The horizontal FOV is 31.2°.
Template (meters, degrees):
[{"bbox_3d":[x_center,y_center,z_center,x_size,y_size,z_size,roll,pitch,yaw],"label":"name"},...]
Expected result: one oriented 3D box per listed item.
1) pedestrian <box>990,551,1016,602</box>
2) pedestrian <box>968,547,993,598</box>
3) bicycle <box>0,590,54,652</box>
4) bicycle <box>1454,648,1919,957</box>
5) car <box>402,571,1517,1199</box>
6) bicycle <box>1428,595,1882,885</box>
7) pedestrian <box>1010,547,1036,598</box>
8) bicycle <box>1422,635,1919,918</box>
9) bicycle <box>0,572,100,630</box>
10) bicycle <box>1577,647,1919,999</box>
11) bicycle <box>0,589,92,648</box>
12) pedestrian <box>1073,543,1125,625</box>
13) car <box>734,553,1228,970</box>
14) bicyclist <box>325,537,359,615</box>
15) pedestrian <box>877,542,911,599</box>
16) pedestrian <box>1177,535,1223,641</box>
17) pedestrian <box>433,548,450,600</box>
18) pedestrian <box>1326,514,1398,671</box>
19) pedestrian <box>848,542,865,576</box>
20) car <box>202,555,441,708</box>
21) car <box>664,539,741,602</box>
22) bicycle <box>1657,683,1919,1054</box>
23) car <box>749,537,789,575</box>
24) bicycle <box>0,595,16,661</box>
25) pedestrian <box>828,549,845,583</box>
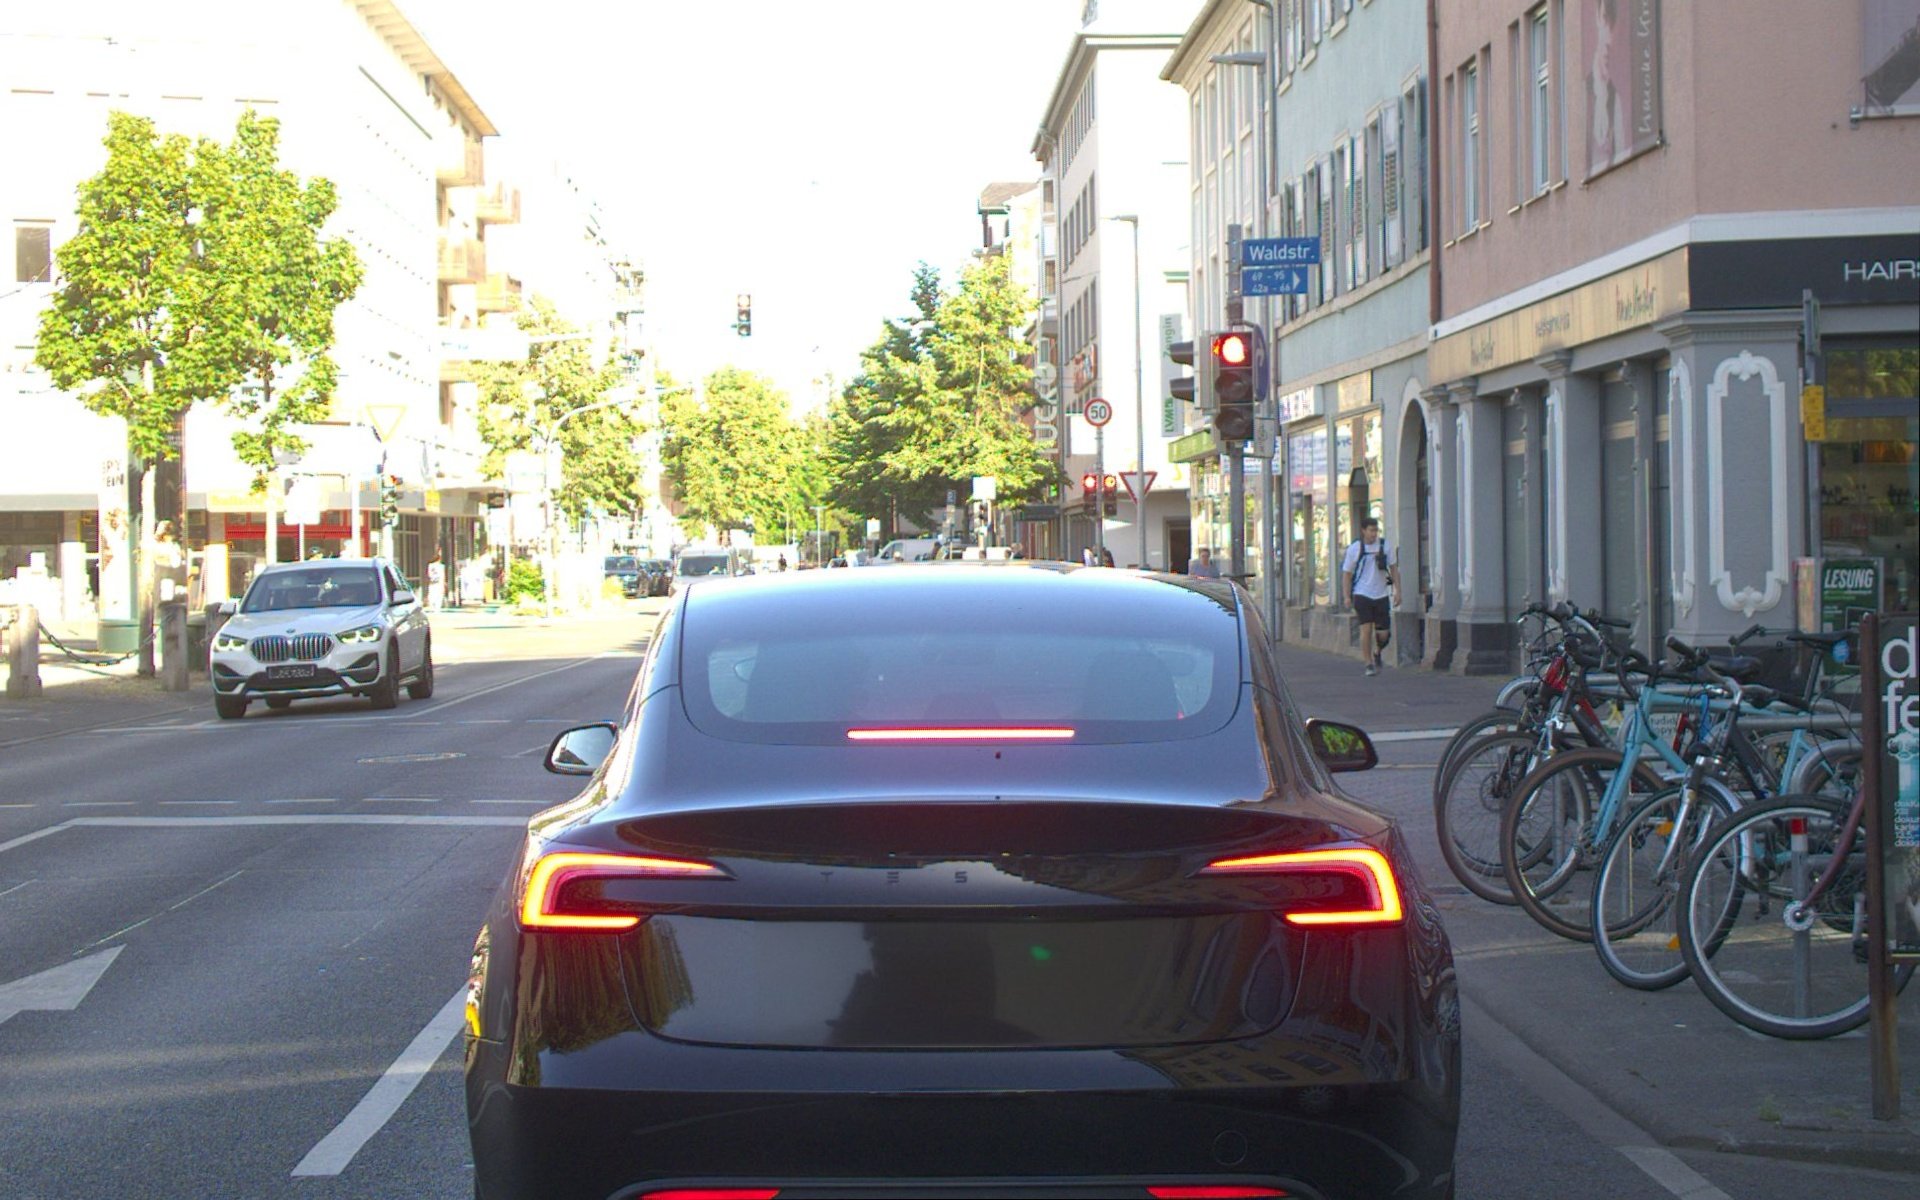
[{"bbox_3d":[1.199,-0.655,95.117,0.521,1.417,0.479,1,0,-30],"label":"pedestrian"},{"bbox_3d":[0.568,-0.769,95.828,0.472,1.412,0.522,1,0,-31],"label":"pedestrian"},{"bbox_3d":[-14.812,0.320,52.342,1.864,0.931,0.606,0,1,-1],"label":"bicycle"},{"bbox_3d":[2.771,0.721,12.446,1.873,1.034,0.533,-2,0,4],"label":"bicycle"},{"bbox_3d":[-0.023,0.658,7.625,1.822,1.437,4.000,0,1,-1],"label":"car"},{"bbox_3d":[2.959,0.593,14.752,1.828,1.165,0.505,-2,0,5],"label":"bicycle"},{"bbox_3d":[1.756,-0.771,95.792,0.521,1.417,0.479,1,0,-30],"label":"pedestrian"},{"bbox_3d":[2.801,0.691,13.613,1.873,1.034,0.547,-2,0,5],"label":"bicycle"},{"bbox_3d":[-20.716,0.019,77.840,2.361,1.291,0.513,1,0,-26],"label":"bicycle"},{"bbox_3d":[2.989,0.704,11.159,1.873,1.084,0.414,-2,0,4],"label":"bicycle"},{"bbox_3d":[-14.840,0.295,54.791,1.864,0.931,0.606,0,1,-1],"label":"bicycle"},{"bbox_3d":[2.811,-0.329,69.463,0.754,1.626,0.956,1,0,-18],"label":"pedestrian"},{"bbox_3d":[0.006,0.535,13.838,1.718,1.420,3.758,0,1,-2],"label":"car"},{"bbox_3d":[-11.887,-0.460,66.168,0.522,1.498,0.476,1,0,-25],"label":"bicyclist"},{"bbox_3d":[-2.008,-0.896,104.054,0.715,1.689,0.851,0,1,-28],"label":"pedestrian"},{"bbox_3d":[3.933,-0.205,56.414,0.706,1.736,0.540,0,1,-1],"label":"pedestrian"},{"bbox_3d":[-14.597,-0.722,96.783,0.459,1.455,0.518,0,1,-5],"label":"pedestrian"},{"bbox_3d":[4.544,-0.086,38.908,0.750,1.759,0.836,0,0,4],"label":"pedestrian"},{"bbox_3d":[-6.161,-2.466,204.487,0.930,2.007,0.938,1,0,-1],"label":"pedestrian"},{"bbox_3d":[-6.655,0.292,36.187,1.789,1.455,3.757,-2,1,0],"label":"car"},{"bbox_3d":[-6.945,-0.799,93.209,1.787,1.640,4.403,1,1,-1],"label":"car"},{"bbox_3d":[3.008,0.757,9.976,1.873,1.034,0.353,-2,0,6],"label":"bicycle"},{"bbox_3d":[-10.366,-2.382,187.092,1.993,2.007,4.000,1,1,-1],"label":"car"},{"bbox_3d":[-14.679,0.393,49.768,1.864,0.931,0.606,1,0,-1],"label":"bicycle"},{"bbox_3d":[-7.362,-2.025,204.608,0.930,2.007,0.938,1,0,-1],"label":"pedestrian"}]
